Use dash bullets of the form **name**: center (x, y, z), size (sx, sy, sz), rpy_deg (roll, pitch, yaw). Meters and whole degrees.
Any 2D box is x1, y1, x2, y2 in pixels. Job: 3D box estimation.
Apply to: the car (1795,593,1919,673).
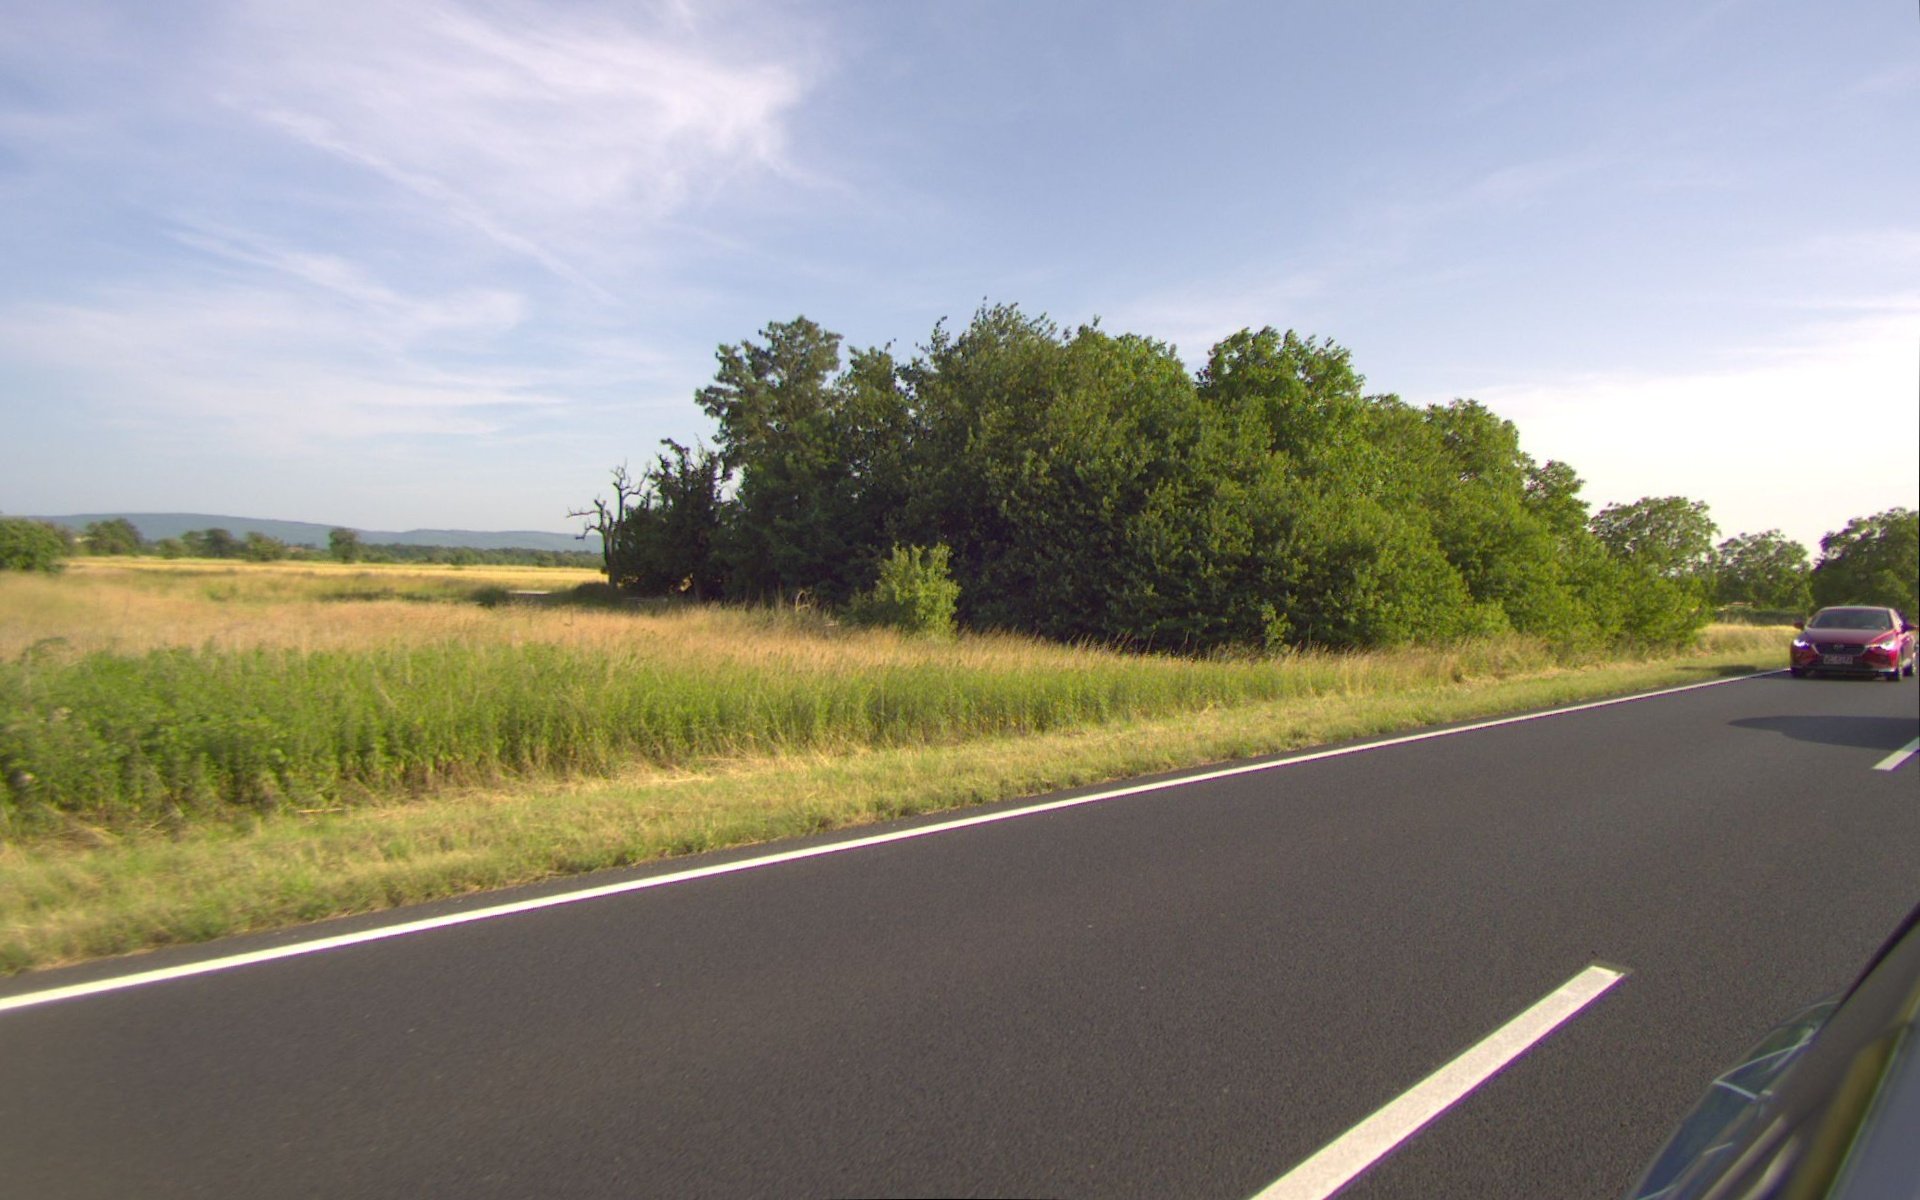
- **car**: center (19.475, 0.620, 21.739), size (4.423, 1.525, 1.707), rpy_deg (-1, 1, -42)
